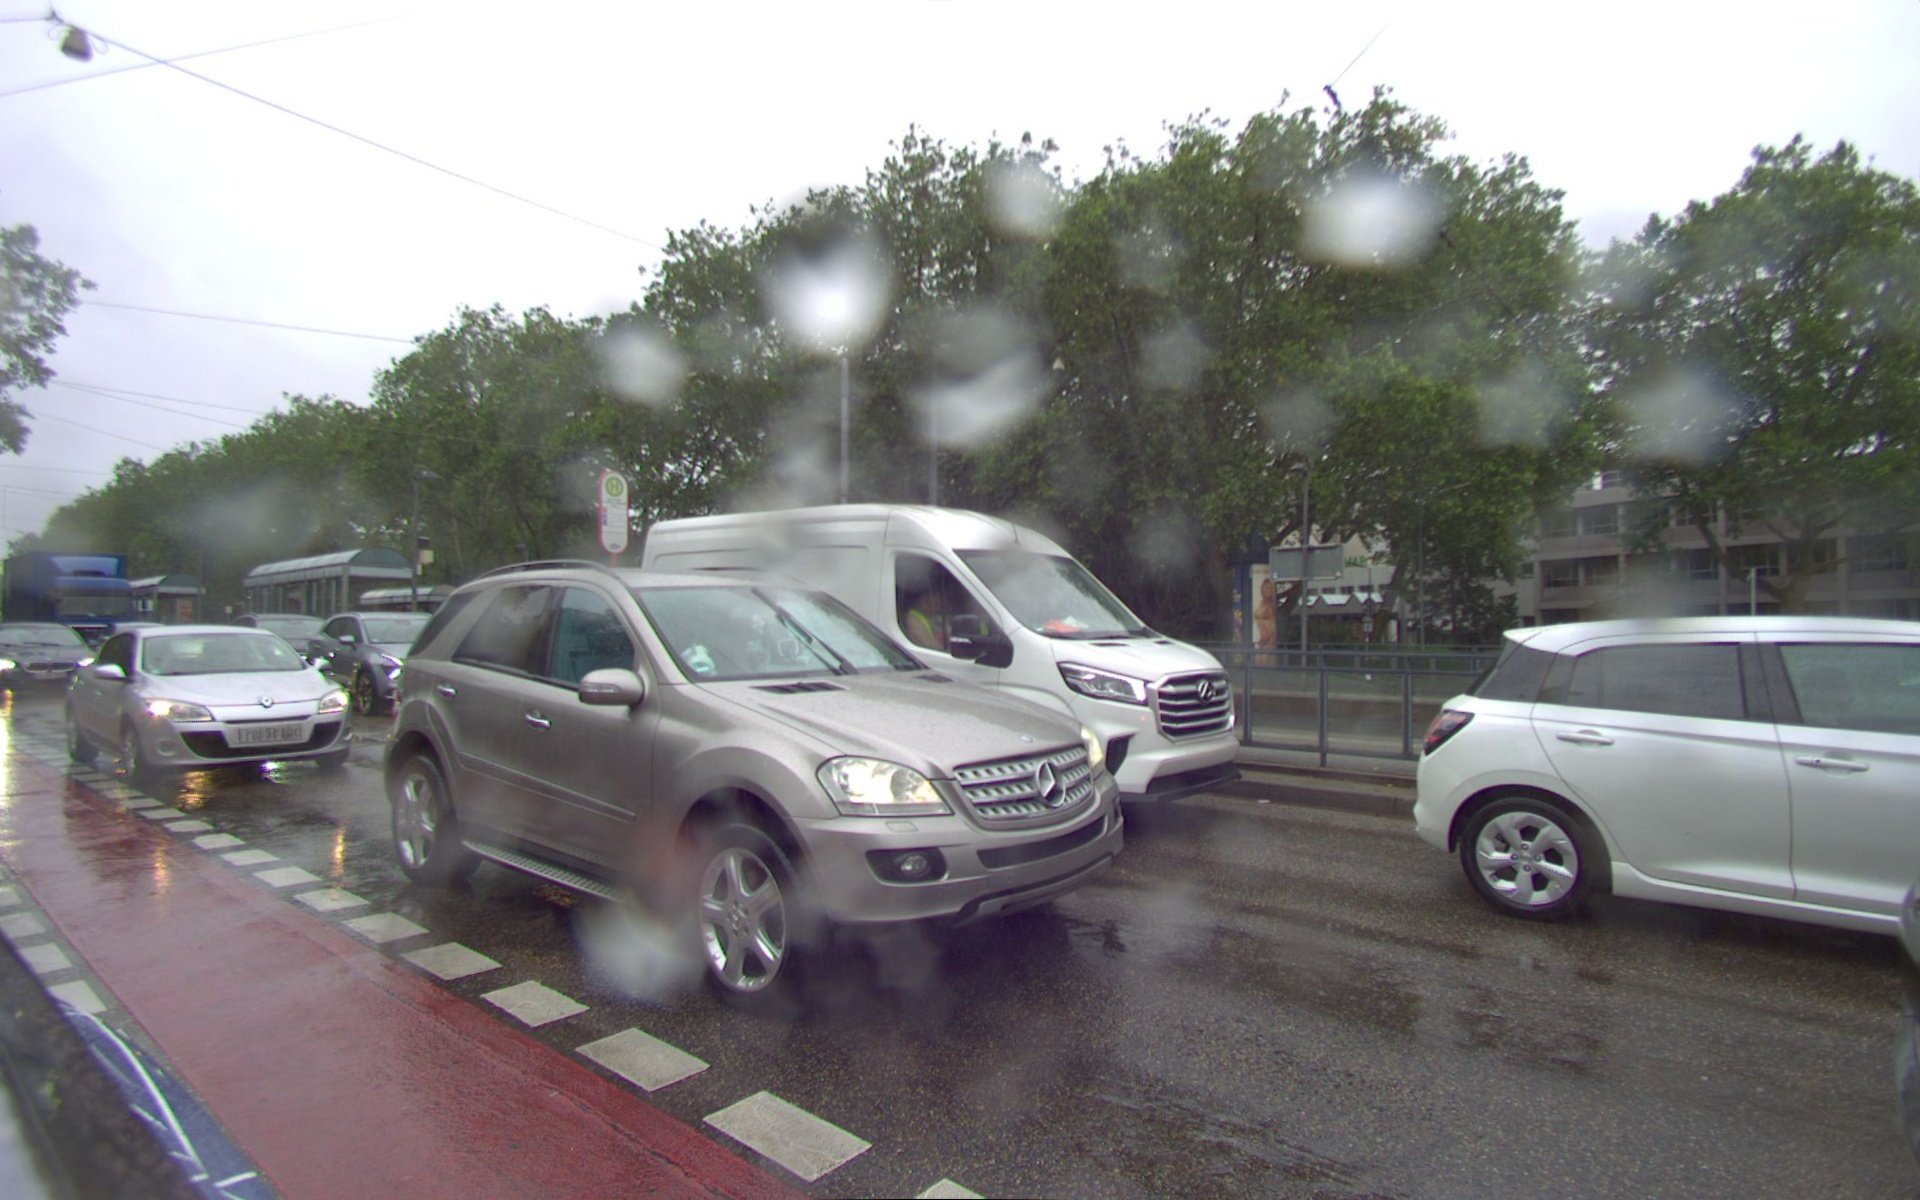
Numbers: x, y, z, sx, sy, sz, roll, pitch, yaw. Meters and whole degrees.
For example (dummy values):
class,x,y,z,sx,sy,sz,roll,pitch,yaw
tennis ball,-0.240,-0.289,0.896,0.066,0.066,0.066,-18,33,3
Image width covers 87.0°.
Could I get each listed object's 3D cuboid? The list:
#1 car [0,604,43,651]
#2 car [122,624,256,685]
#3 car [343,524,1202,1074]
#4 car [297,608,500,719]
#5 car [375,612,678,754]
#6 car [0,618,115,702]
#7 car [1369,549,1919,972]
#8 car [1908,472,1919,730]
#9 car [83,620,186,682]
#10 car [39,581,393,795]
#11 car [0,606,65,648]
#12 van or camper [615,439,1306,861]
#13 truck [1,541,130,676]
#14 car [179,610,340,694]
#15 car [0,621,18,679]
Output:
class,x,y,z,sx,sy,sz,roll,pitch,yaw
car,-46.393,1.318,49.130,5.453,2.166,2.313,-1,0,43
car,-19.821,1.373,25.962,4.187,1.418,1.889,-3,-2,40
car,-1.323,0.686,5.311,4.676,1.659,1.889,-3,-2,40
car,-9.606,1.027,17.165,4.247,1.647,1.823,-3,-2,43
car,-5.716,0.984,13.058,4.553,1.525,1.763,-3,-2,41
car,-19.139,1.210,21.015,4.667,1.561,1.887,-3,-2,43
car,4.225,0.620,4.499,4.074,1.599,1.782,-3,-3,43
car,3.727,0.483,0.833,4.190,1.722,1.782,-3,-2,42
car,-24.420,1.485,29.894,4.191,1.659,1.887,-3,-2,44
car,-7.756,0.803,10.411,4.263,1.755,1.951,-3,-2,39
car,-40.680,1.159,44.137,3.998,1.728,1.973,-1,0,41
van or camper,-0.380,0.399,8.729,5.965,2.490,2.153,-2,-2,40
truck,-31.795,0.426,35.855,8.349,4.309,2.386,-3,-2,41
car,-15.411,1.119,22.178,4.187,1.659,1.889,-3,-2,40
car,-29.168,1.498,29.745,4.191,1.659,1.887,-3,-2,43
